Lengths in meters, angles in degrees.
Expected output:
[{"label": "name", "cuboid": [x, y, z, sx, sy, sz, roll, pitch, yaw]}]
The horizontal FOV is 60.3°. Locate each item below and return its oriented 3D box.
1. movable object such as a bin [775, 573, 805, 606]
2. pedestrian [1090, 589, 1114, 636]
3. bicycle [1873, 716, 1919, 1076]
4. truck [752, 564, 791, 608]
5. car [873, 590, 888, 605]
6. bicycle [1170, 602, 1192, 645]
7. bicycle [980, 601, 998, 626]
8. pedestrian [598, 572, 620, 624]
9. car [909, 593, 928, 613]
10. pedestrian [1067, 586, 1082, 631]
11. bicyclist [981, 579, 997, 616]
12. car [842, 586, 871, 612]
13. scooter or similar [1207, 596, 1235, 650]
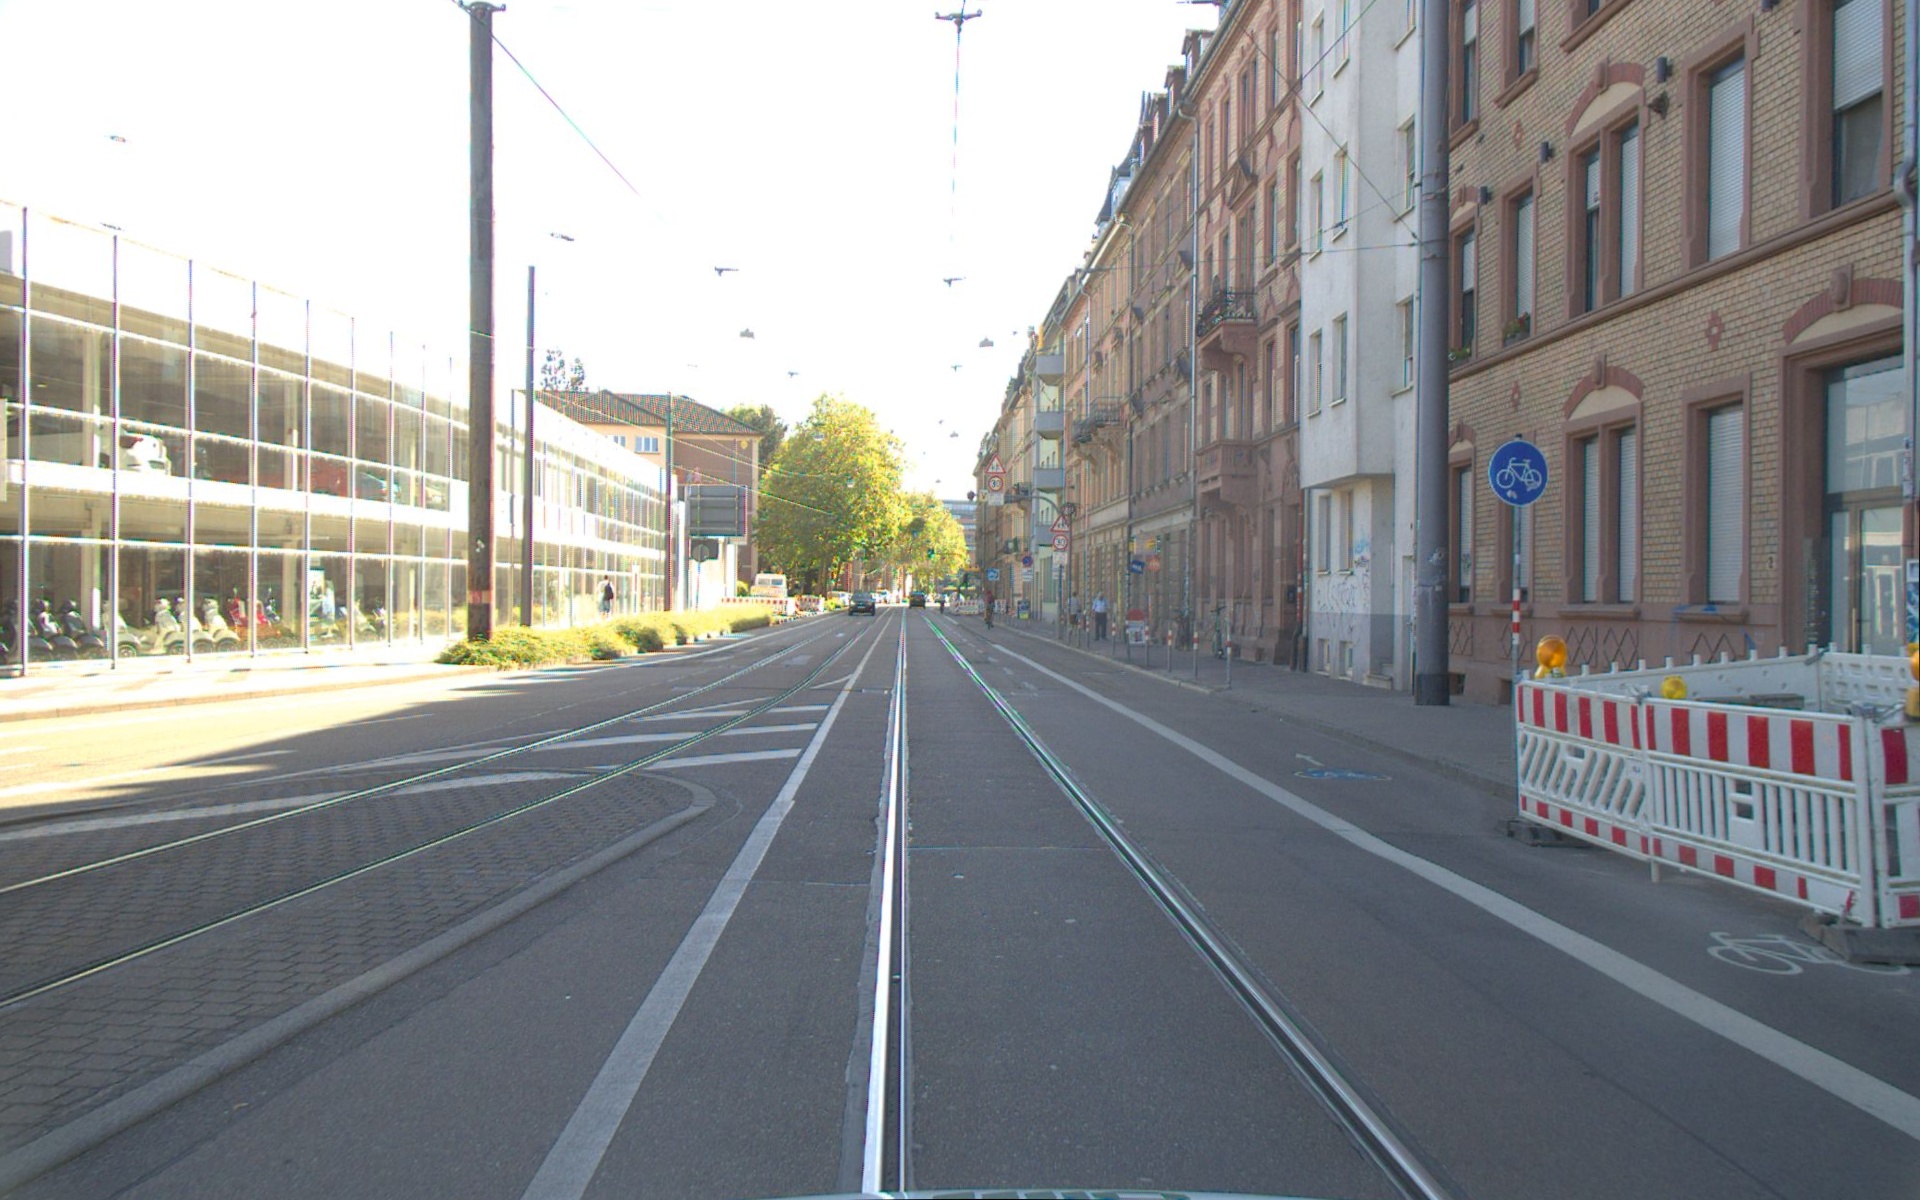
[{"label": "movable object such as a bin", "cuboid": [-15.024, -0.924, 146.484, 2.446, 2.691, 5.984, 2, 0, -4]}, {"label": "pedestrian", "cuboid": [4.925, 0.432, 57.380, 0.782, 1.633, 0.652, 0, -1, 0]}, {"label": "bicycle", "cuboid": [3.374, 0.965, 4.620, 0.521, 1.137, 1.933, 1, 0, -2]}, {"label": "truck", "cuboid": [-13.122, -0.931, 115.615, 2.489, 2.879, 6.369, 2, 0, -5]}, {"label": "car", "cuboid": [-11.978, -0.368, 250.199, 2.016, 2.088, 4.043, 2, 0, 1]}, {"label": "bicycle", "cuboid": [6.060, 0.629, 45.380, 0.401, 1.141, 1.898, -1, -1, 2]}, {"label": "bicycle", "cuboid": [1.343, 0.618, 78.242, 0.667, 1.134, 2.706, 2, 0, -2]}, {"label": "pedestrian", "cuboid": [-12.421, -0.073, 58.565, 0.516, 1.795, 1.050, 2, -1, -2]}, {"label": "car", "cuboid": [-4.407, 0.290, 175.709, 1.953, 2.049, 3.999, 2, 0, -1]}, {"label": "pedestrian", "cuboid": [4.454, 0.335, 64.277, 0.541, 1.730, 0.474, -1, -1, 3]}, {"label": "bicyclist", "cuboid": [1.385, -0.113, 78.155, 0.654, 1.726, 1.042, 2, -1, -2]}, {"label": "car", "cuboid": [-7.144, -0.079, 114.680, 1.723, 1.726, 4.143, 2, 0, -1]}, {"label": "scooter or similar", "cuboid": [6.192, 0.540, 39.277, 0.398, 1.232, 1.480, -1, 0, -1]}]
